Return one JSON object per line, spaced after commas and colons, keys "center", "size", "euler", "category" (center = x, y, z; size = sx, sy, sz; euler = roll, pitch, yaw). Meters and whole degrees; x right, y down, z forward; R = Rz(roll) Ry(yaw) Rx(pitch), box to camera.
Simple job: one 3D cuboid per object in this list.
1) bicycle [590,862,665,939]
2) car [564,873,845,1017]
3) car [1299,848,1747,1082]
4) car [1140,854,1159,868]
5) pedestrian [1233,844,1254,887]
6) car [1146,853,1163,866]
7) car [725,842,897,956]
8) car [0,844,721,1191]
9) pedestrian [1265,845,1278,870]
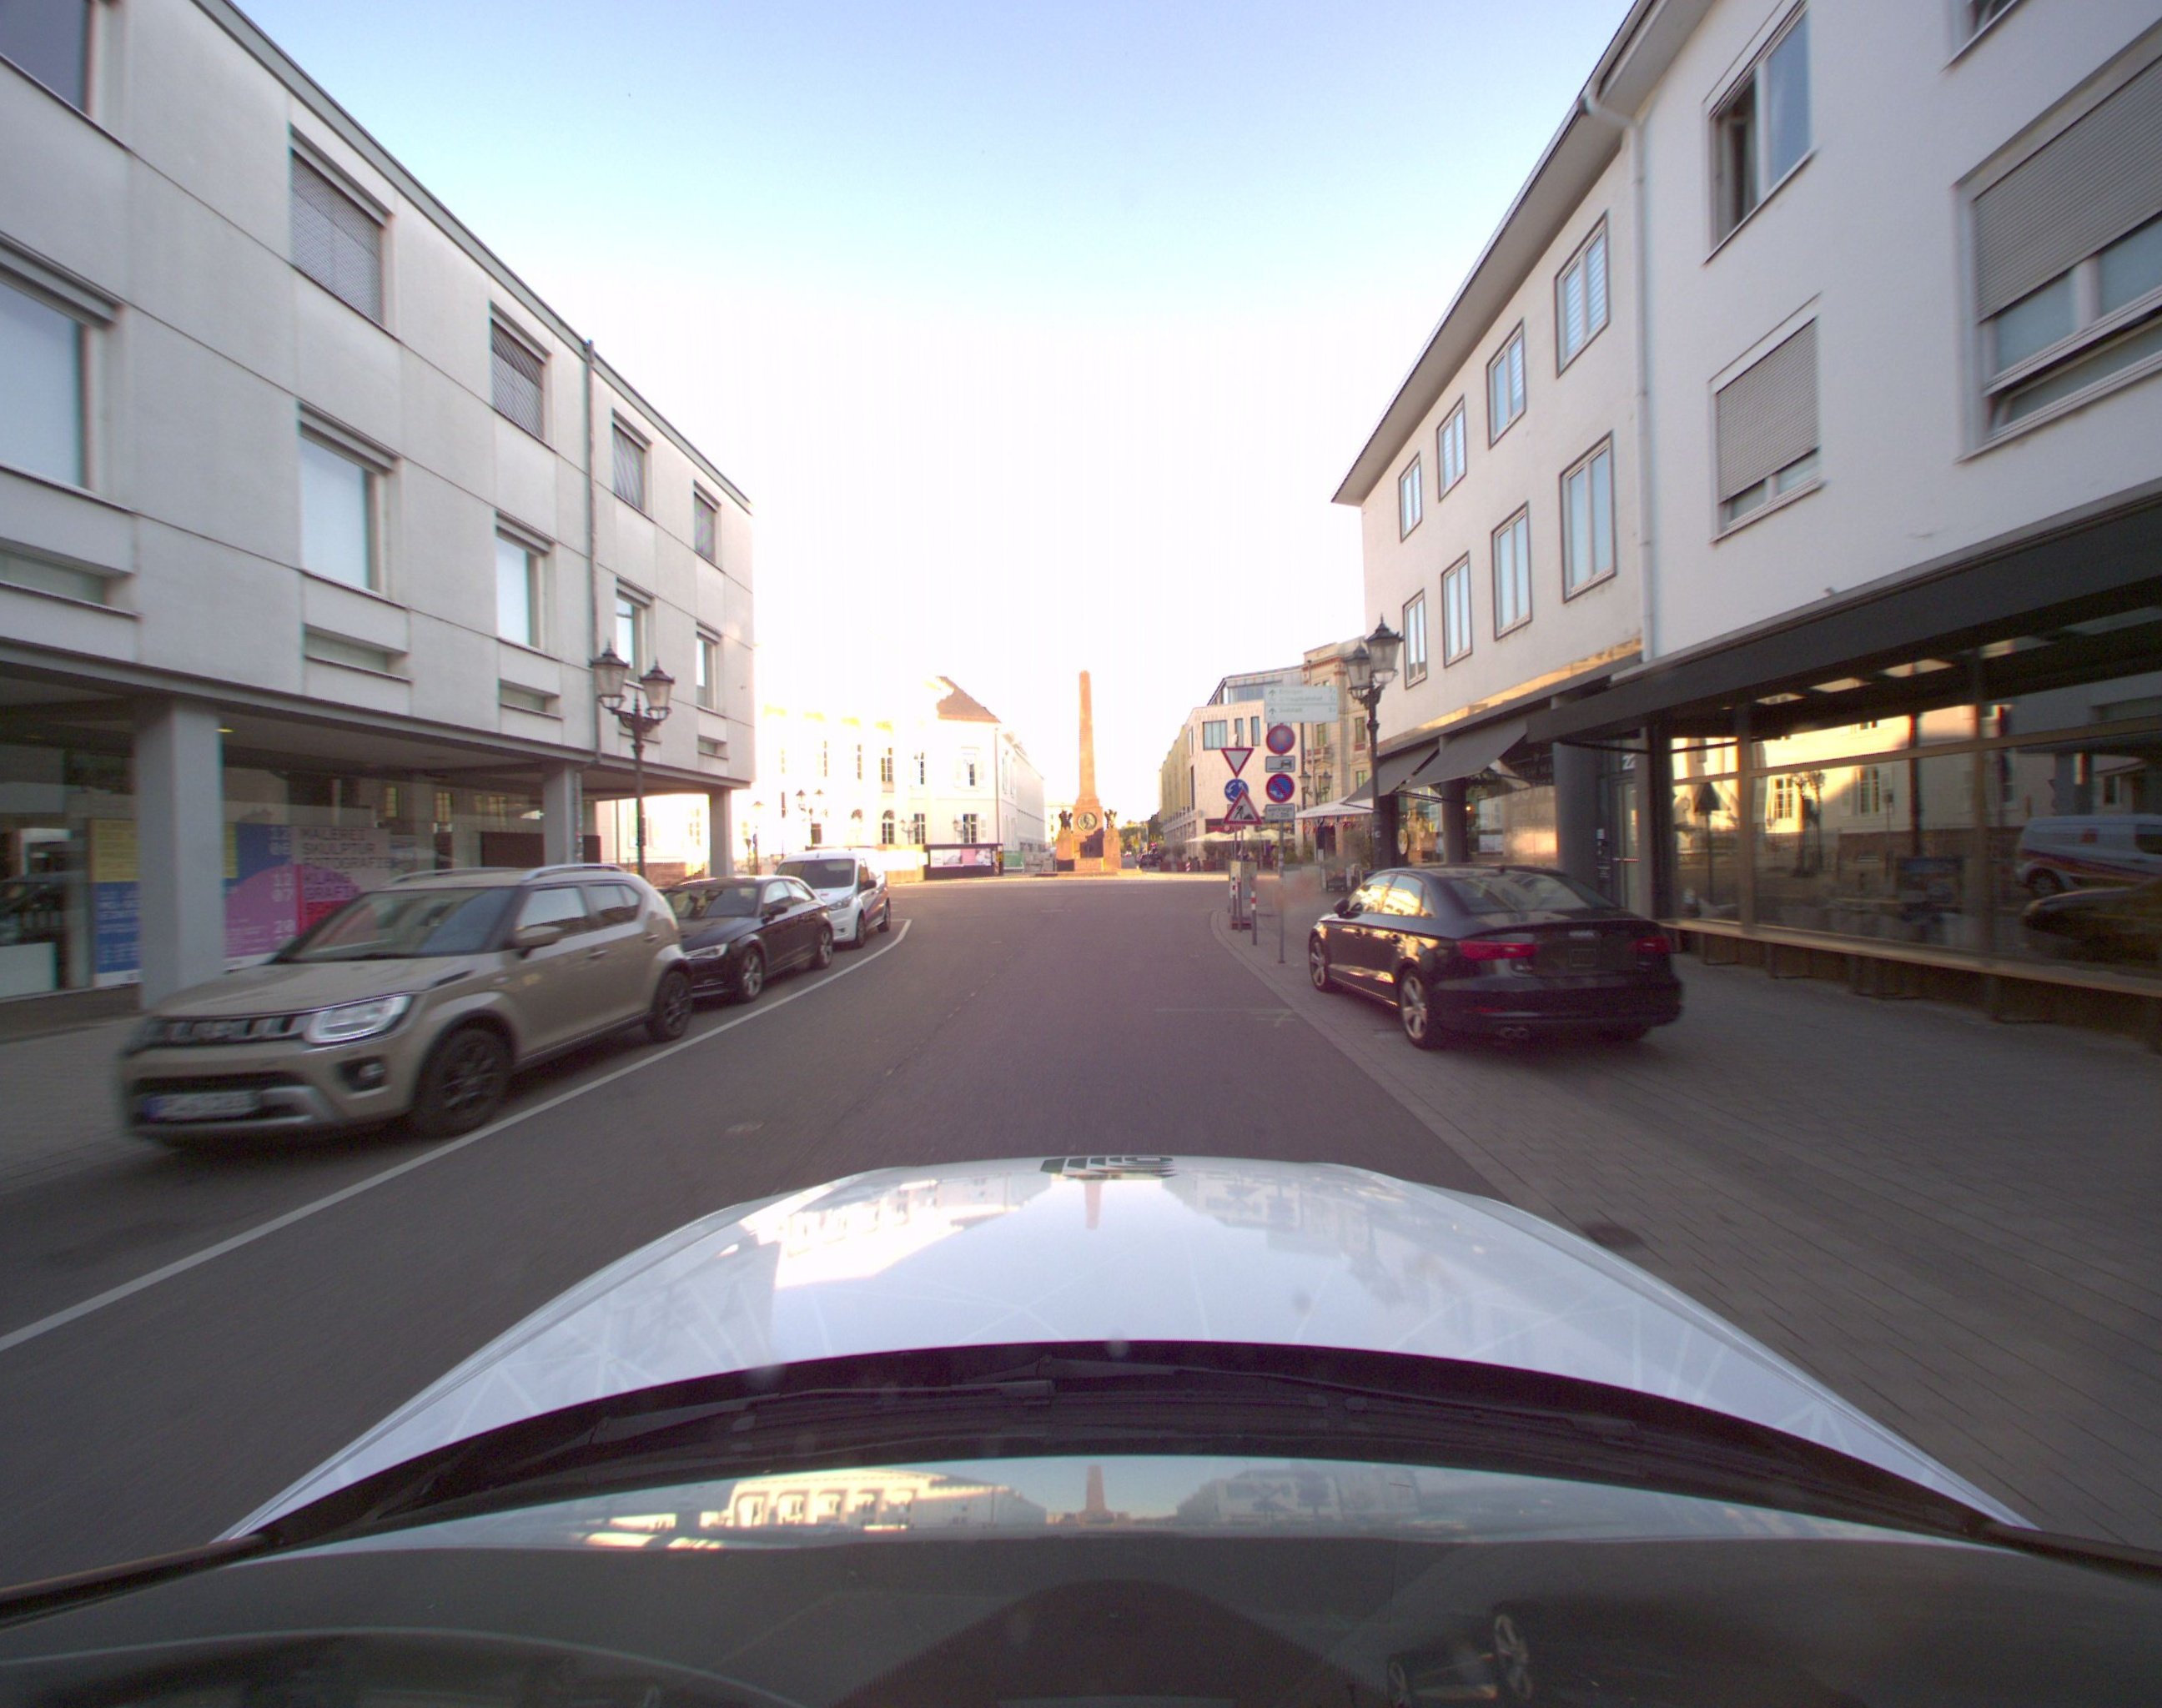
{"center": [-9.740, 0.954, 17.557], "size": [0.575, 1.540, 1.733], "euler": [-1, 0, 2], "category": "bicycle"}
{"center": [-4.487, 0.987, 10.483], "size": [1.672, 1.353, 4.105], "euler": [-1, 0, 0], "category": "car"}
{"center": [3.454, 0.727, 7.398], "size": [1.796, 1.464, 4.116], "euler": [-2, 0, 0], "category": "car"}
{"center": [7.439, 0.719, 88.868], "size": [1.985, 1.464, 4.005], "euler": [-2, 0, 4], "category": "car"}
{"center": [6.381, 0.459, 32.033], "size": [0.687, 1.647, 0.696], "euler": [-2, 0, 2], "category": "pedestrian"}
{"center": [8.775, 0.646, 97.315], "size": [1.985, 1.464, 4.005], "euler": [-2, 0, 4], "category": "car"}
{"center": [-4.931, 0.722, 15.647], "size": [1.990, 1.816, 4.776], "euler": [-1, 0, -4], "category": "car"}
{"center": [-4.597, 0.818, 6.114], "size": [1.988, 1.662, 3.998], "euler": [-2, 0, -1], "category": "car"}
{"center": [13.897, 0.252, 59.432], "size": [0.899, 1.728, 0.852], "euler": [-2, 0, 11], "category": "pedestrian"}
